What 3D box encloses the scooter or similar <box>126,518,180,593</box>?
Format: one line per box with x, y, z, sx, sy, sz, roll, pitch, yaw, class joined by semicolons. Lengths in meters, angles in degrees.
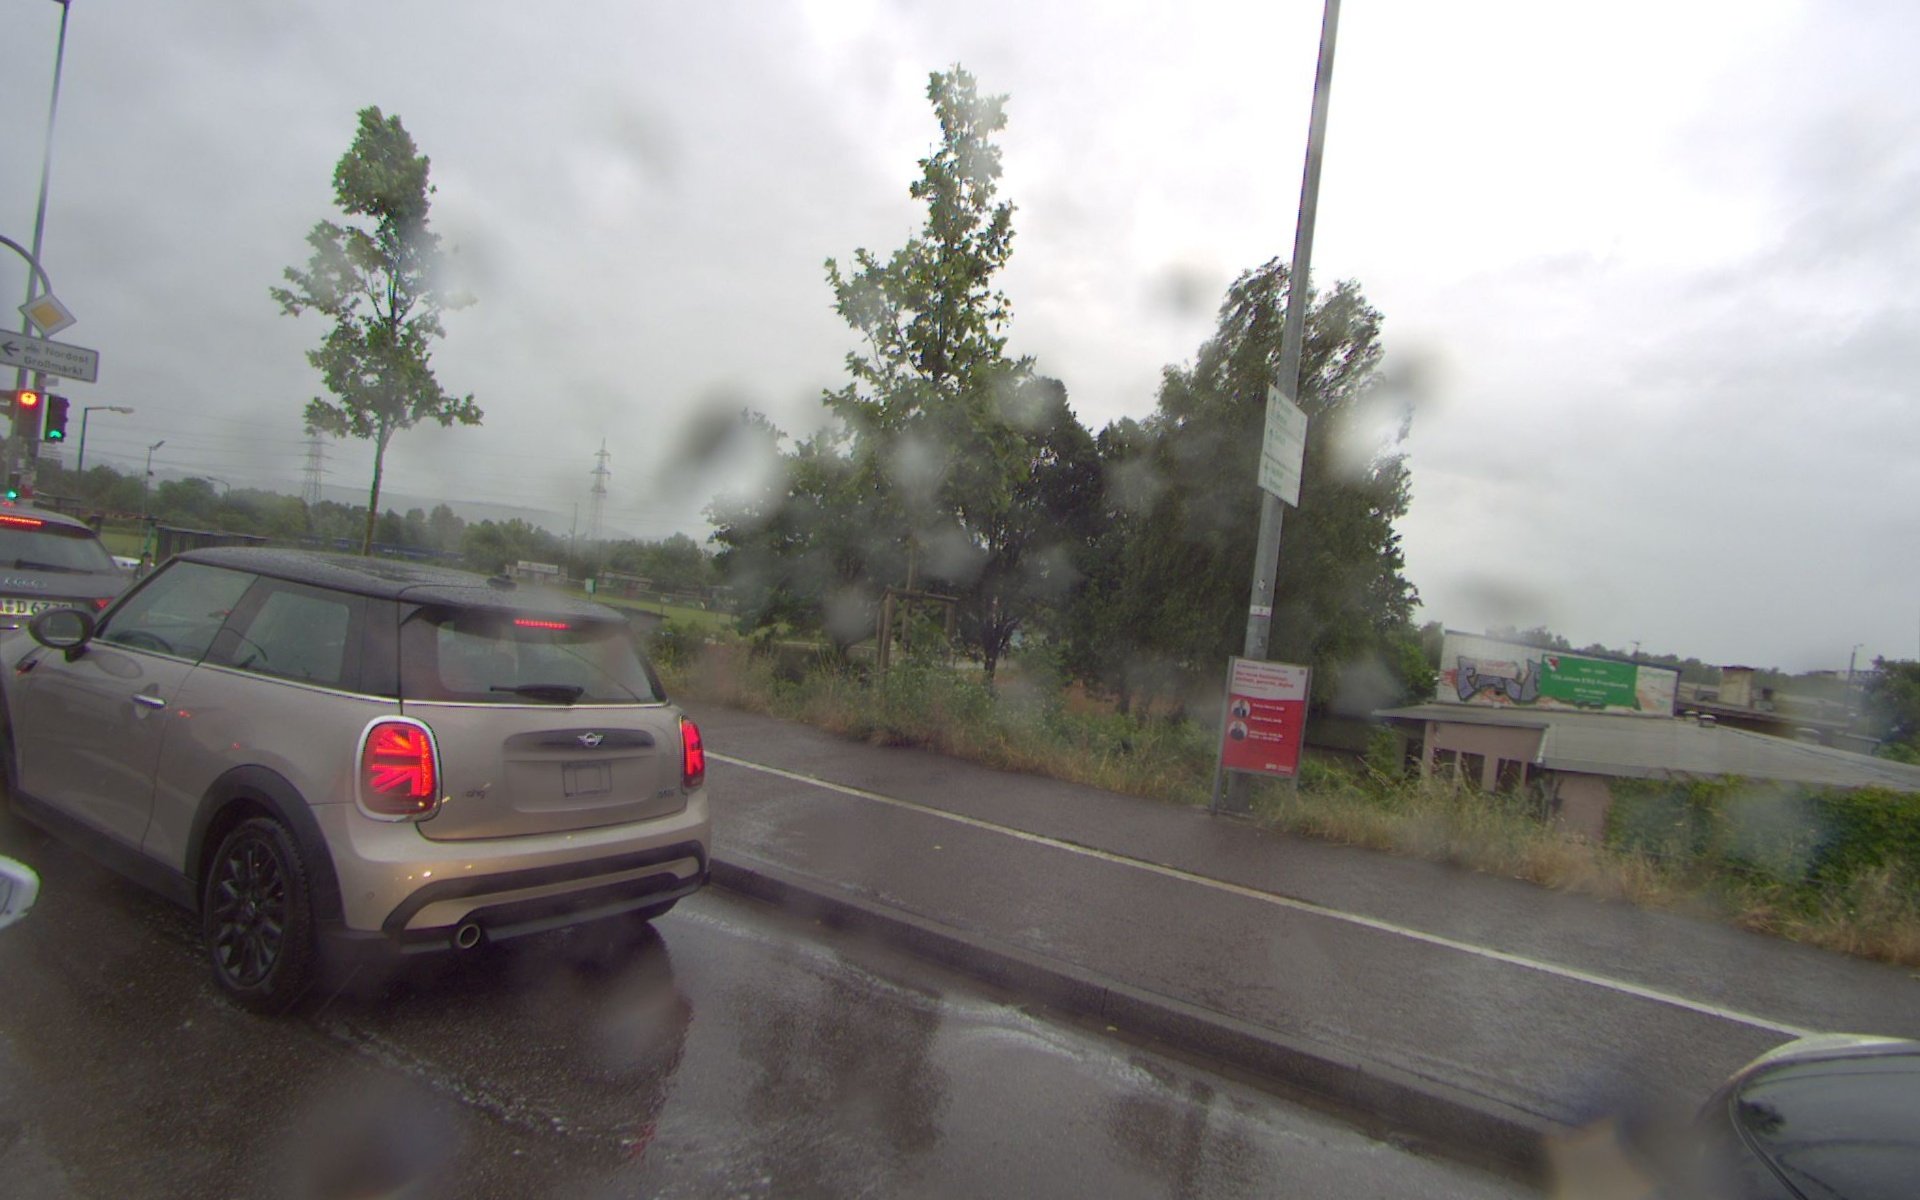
-13.659;-0.758;17.022;1.167;1.171;0.246;6;-1;33;scooter or similar

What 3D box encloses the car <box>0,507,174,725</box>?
-7.498;-0.062;7.231;3.563;1.360;1.632;6;-2;31;car

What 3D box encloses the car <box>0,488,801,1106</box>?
-2.697;0.489;4.327;3.563;1.525;1.717;7;-2;31;car

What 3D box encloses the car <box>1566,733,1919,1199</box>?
2.781;1.179;1.034;3.563;1.445;1.632;7;-1;31;car
